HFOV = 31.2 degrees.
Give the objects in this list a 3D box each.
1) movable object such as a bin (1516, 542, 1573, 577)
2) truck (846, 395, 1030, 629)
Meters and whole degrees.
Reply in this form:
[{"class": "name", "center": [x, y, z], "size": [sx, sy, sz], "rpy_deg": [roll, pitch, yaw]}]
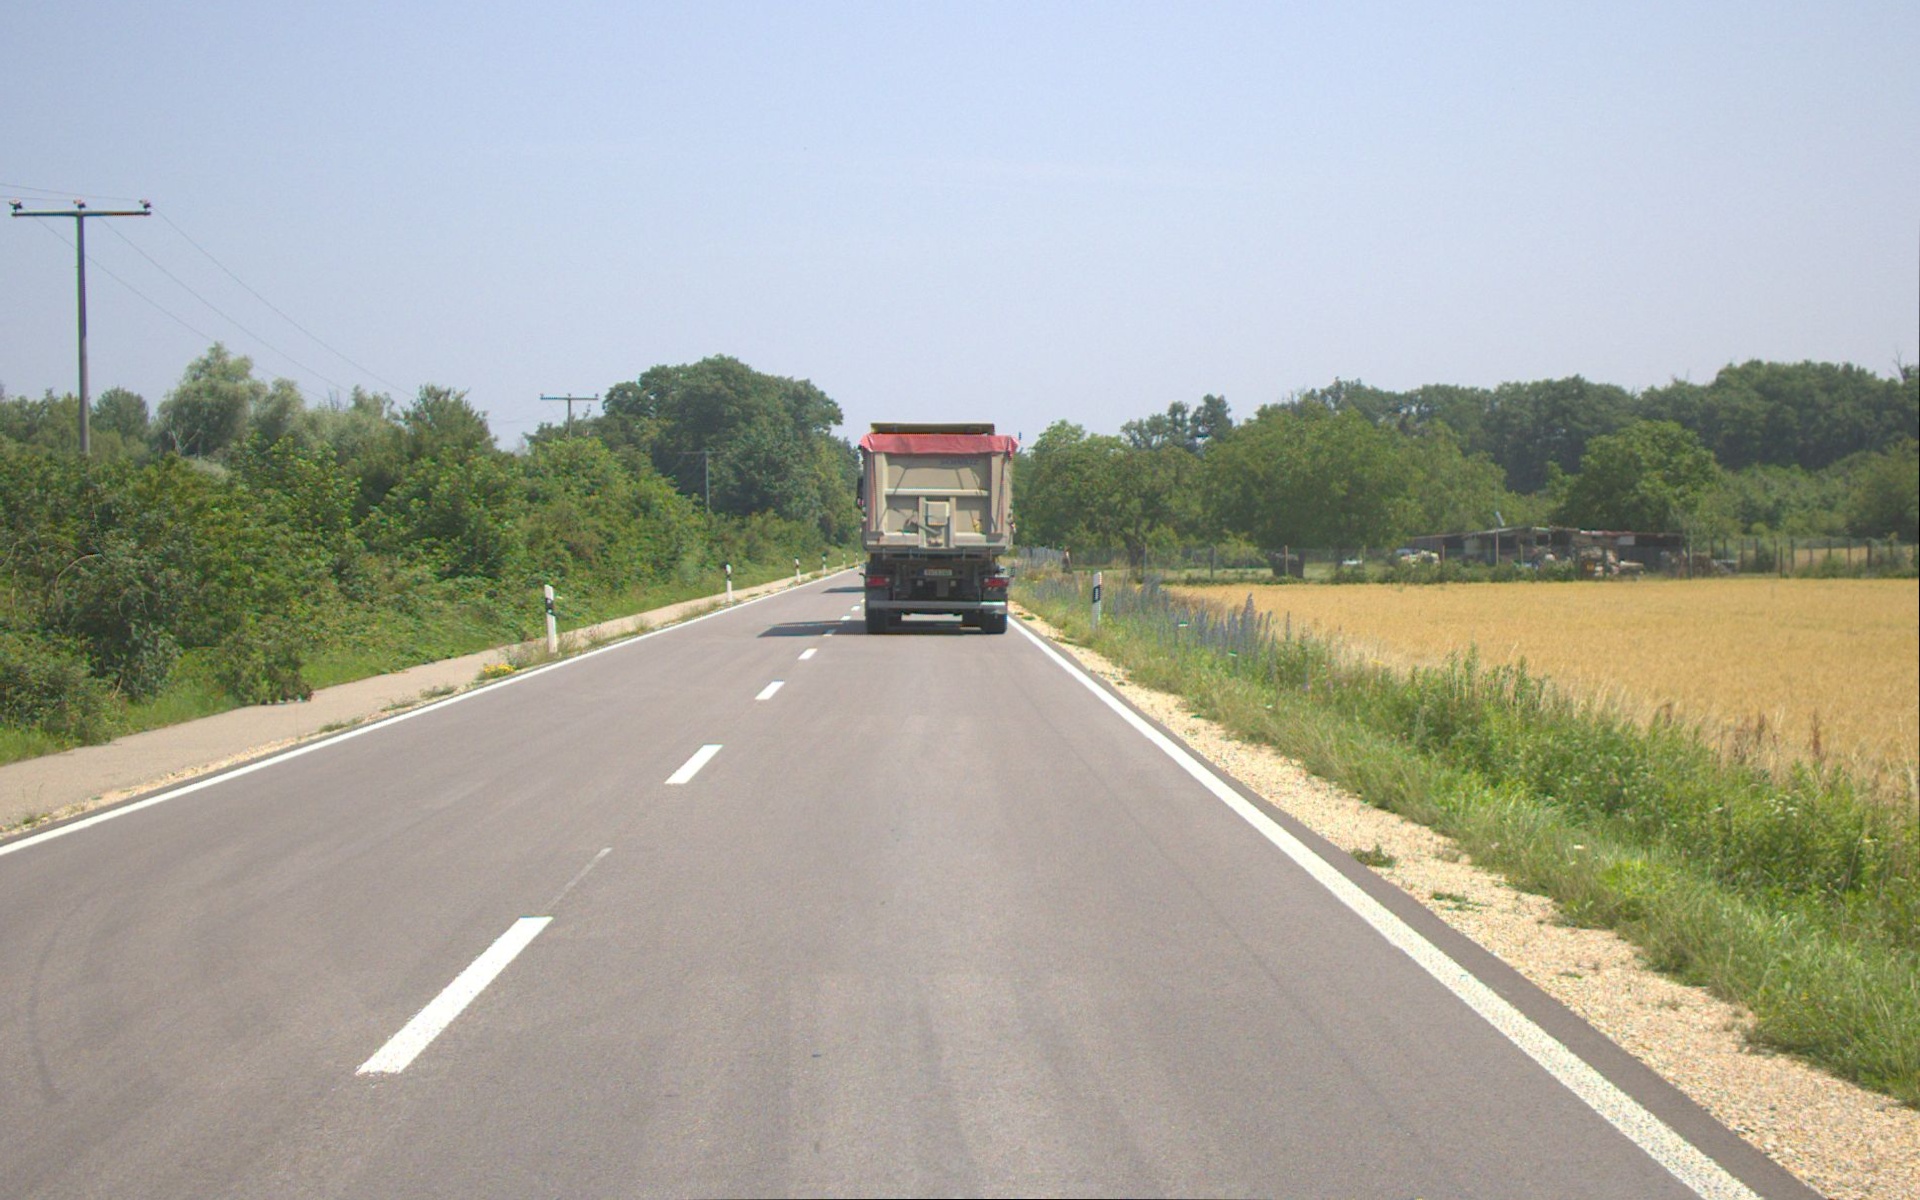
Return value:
[{"class": "movable object such as a bin", "center": [25.215, -1.764, 148.364], "size": [1.570, 1.491, 3.659], "rpy_deg": [0, 1, -5]}, {"class": "truck", "center": [-0.450, -1.541, 63.854], "size": [3.009, 3.861, 12.210], "rpy_deg": [1, 1, -1]}]
